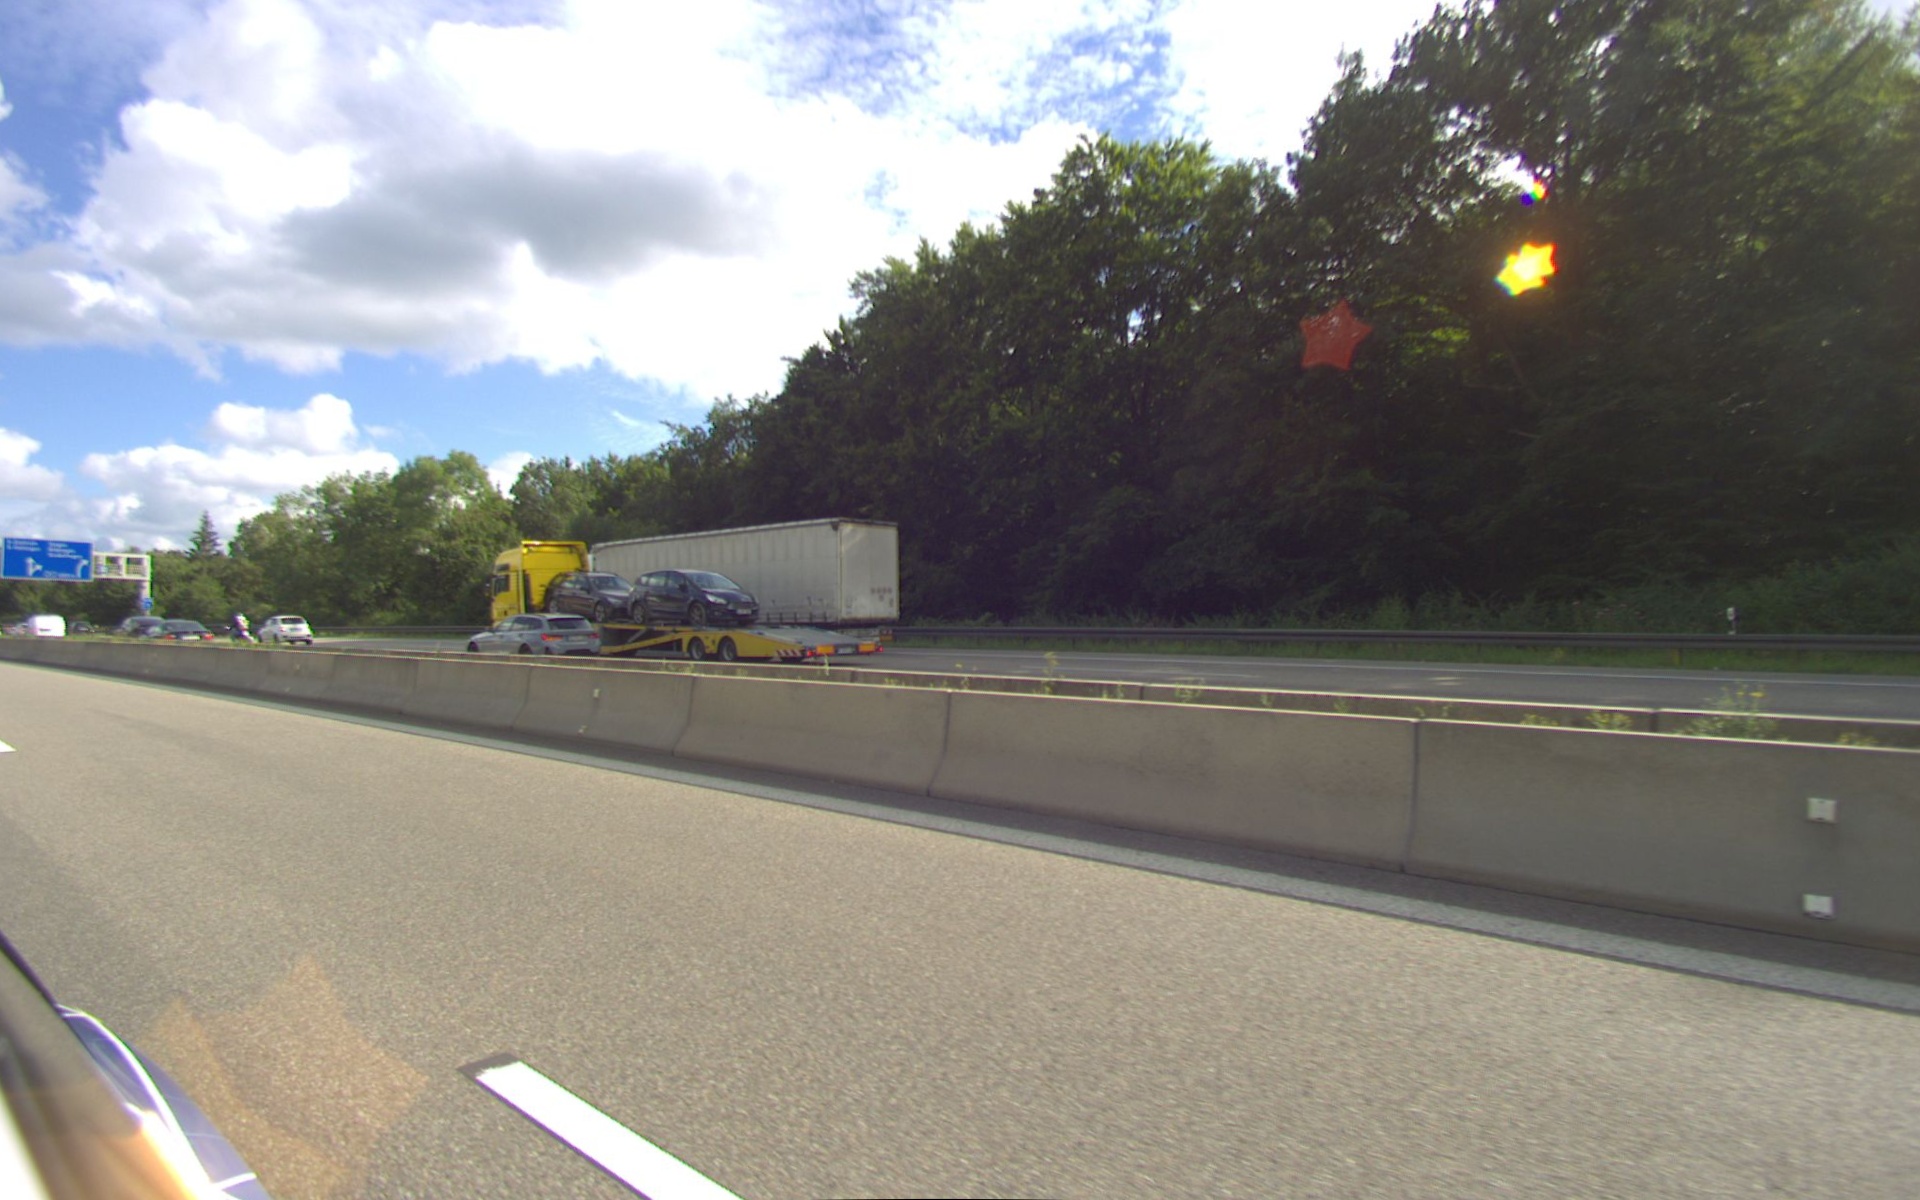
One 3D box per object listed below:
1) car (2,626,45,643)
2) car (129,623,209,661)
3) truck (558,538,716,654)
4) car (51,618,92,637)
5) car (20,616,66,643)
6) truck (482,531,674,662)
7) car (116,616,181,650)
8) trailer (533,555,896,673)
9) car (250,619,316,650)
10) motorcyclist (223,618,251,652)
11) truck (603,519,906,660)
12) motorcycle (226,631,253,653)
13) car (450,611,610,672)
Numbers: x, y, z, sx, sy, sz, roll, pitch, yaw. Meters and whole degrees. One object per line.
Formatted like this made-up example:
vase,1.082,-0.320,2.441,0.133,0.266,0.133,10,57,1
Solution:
car,-82.585,3.016,89.217,4.664,1.484,2.052,-1,-1,38
car,-29.770,1.541,38.048,4.197,1.317,1.666,-1,-1,42
truck,-12.517,-0.095,38.961,6.593,4.099,2.679,-1,-1,40
car,-84.155,2.608,95.853,4.664,1.752,2.052,-1,-1,38
car,-65.866,2.120,72.662,4.728,1.851,1.972,-1,-1,42
truck,-12.640,-0.048,33.141,7.128,3.839,2.748,-1,-1,40
car,-43.811,1.747,54.605,4.678,1.700,1.972,-1,-1,42
trailer,-7.598,0.429,28.923,13.301,2.740,2.748,-1,-1,40
car,-34.810,1.758,52.011,4.127,1.509,1.828,-1,0,41
motorcyclist,-32.178,1.554,45.055,1.074,1.487,0.746,-1,-1,39
truck,-7.537,-0.192,34.747,13.078,4.099,2.679,-1,-1,40
motorcycle,-32.101,1.872,45.078,2.250,0.963,0.477,-1,-1,41
car,-11.743,1.081,27.503,4.979,1.497,1.973,-1,-1,40
